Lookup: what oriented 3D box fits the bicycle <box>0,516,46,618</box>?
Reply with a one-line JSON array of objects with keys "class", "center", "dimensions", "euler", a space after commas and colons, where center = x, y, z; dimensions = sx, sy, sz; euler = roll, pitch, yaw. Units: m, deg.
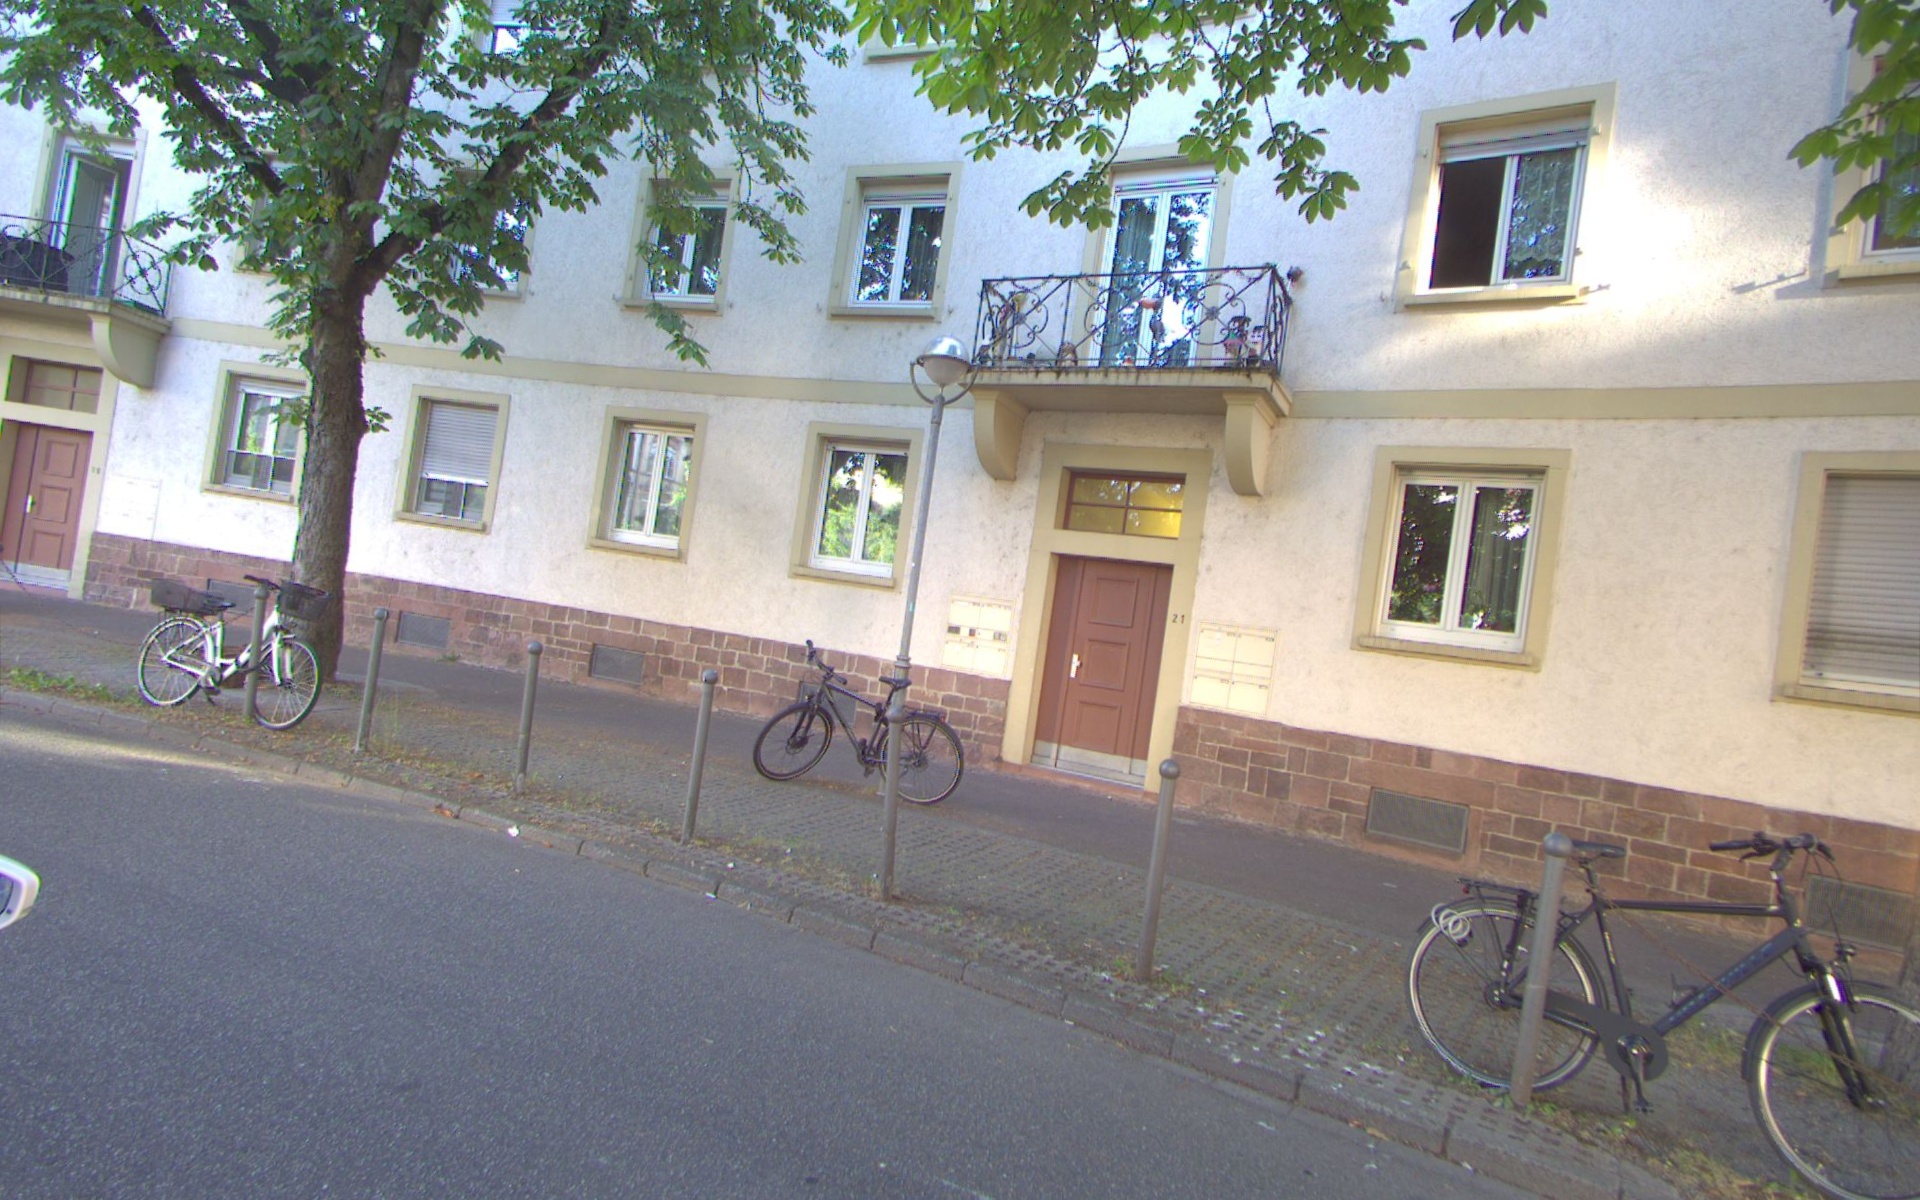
[{"class": "bicycle", "center": [-11.705, -0.499, 11.566], "dimensions": [1.929, 1.120, 0.670], "euler": [8, -2, 13]}]

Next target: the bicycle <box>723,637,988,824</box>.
[{"class": "bicycle", "center": [-0.794, 0.999, 7.993], "dimensions": [1.823, 1.131, 0.804], "euler": [8, -1, 8]}]

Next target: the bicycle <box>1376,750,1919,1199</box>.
[{"class": "bicycle", "center": [2.628, 1.339, 3.634], "dimensions": [1.881, 1.237, 0.719], "euler": [7, -1, 29]}]

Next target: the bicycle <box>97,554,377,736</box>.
[{"class": "bicycle", "center": [-5.627, 0.333, 7.837], "dimensions": [1.936, 1.109, 0.514], "euler": [8, 0, 12]}]
